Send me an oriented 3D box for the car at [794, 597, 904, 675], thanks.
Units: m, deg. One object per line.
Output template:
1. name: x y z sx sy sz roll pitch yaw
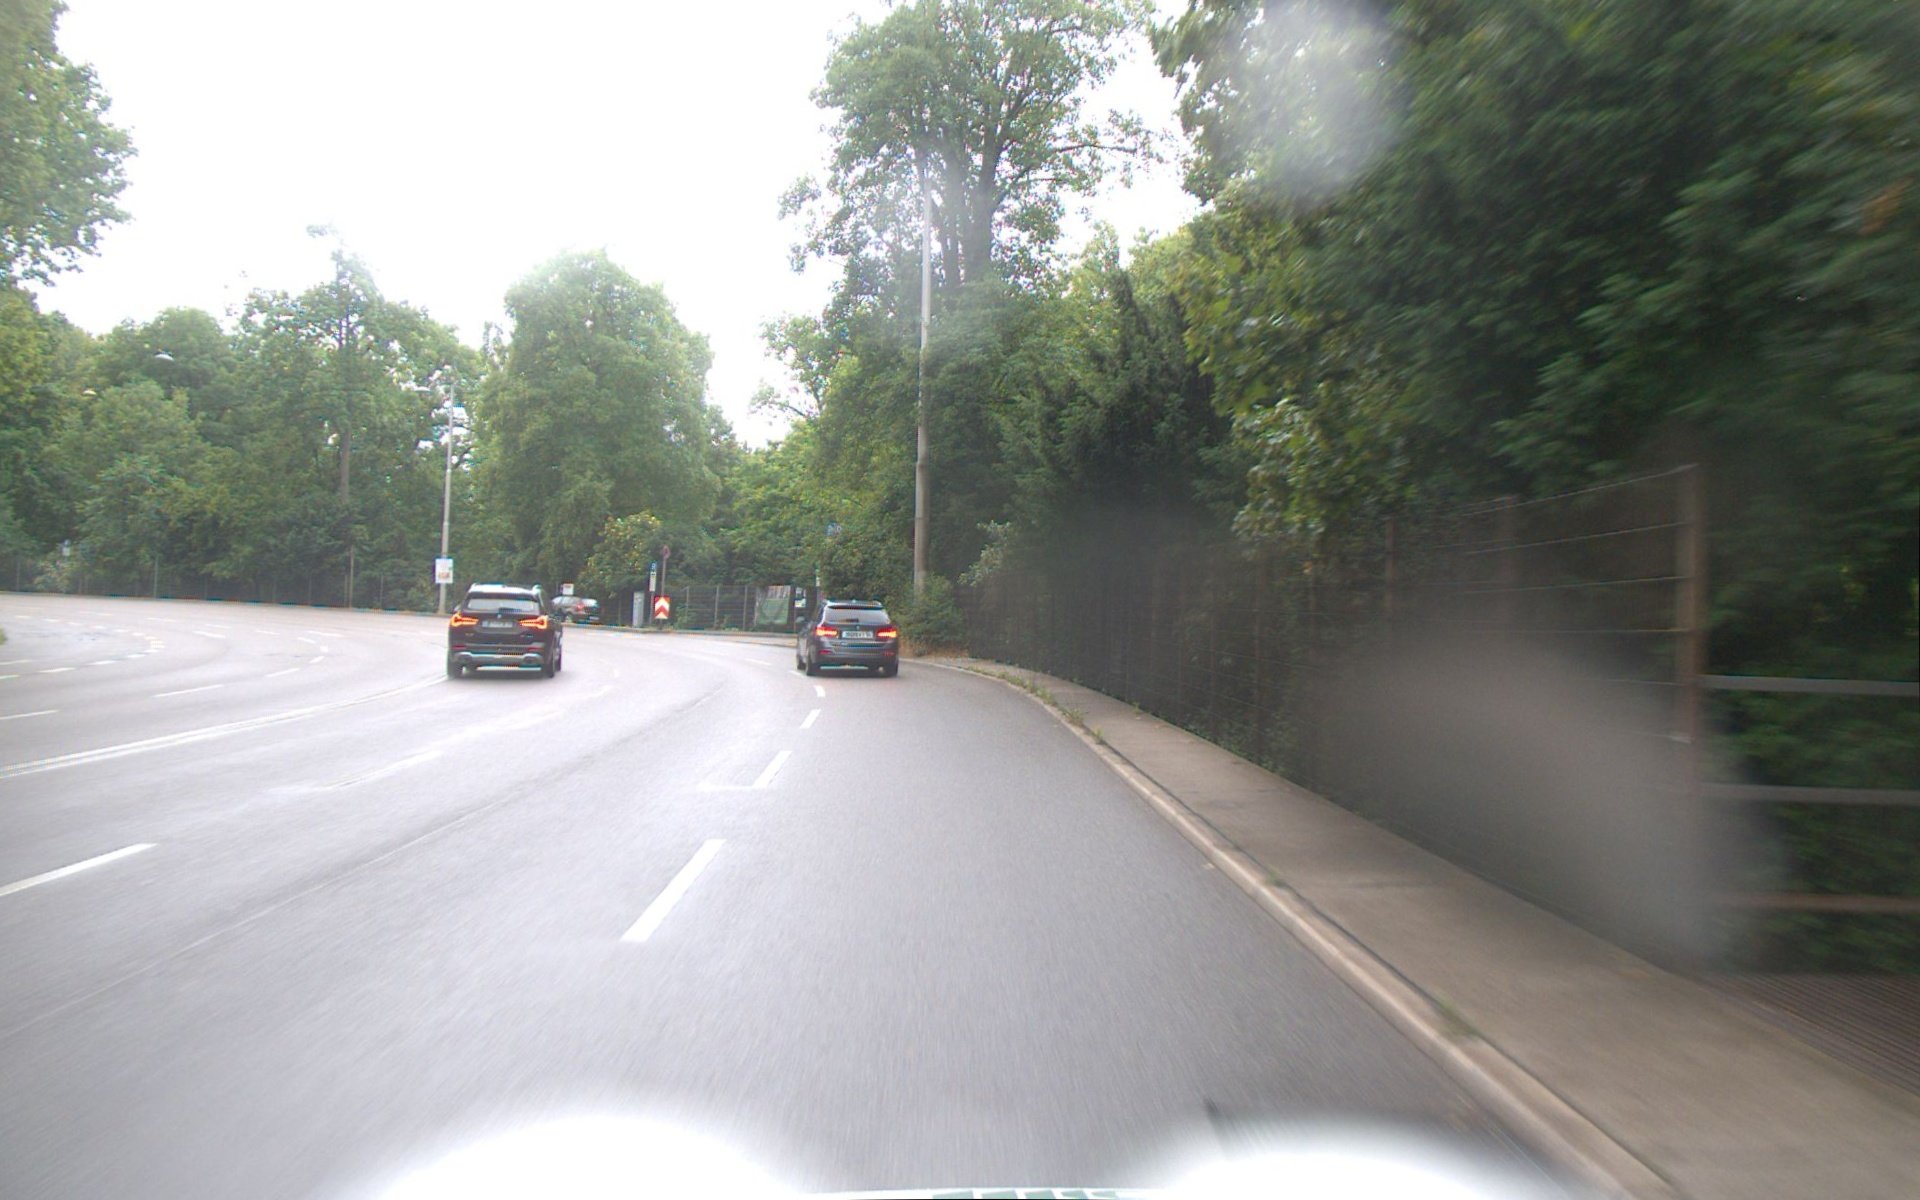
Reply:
1. car: -2.297 0.679 33.268 1.726 1.457 4.402 1 0 -10

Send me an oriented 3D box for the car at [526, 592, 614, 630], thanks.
1. car: -17.871 0.488 75.690 4.293 1.451 1.683 2 -3 42

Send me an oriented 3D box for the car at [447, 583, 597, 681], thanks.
1. car: -8.029 0.551 30.699 1.722 1.613 4.410 3 0 -3
